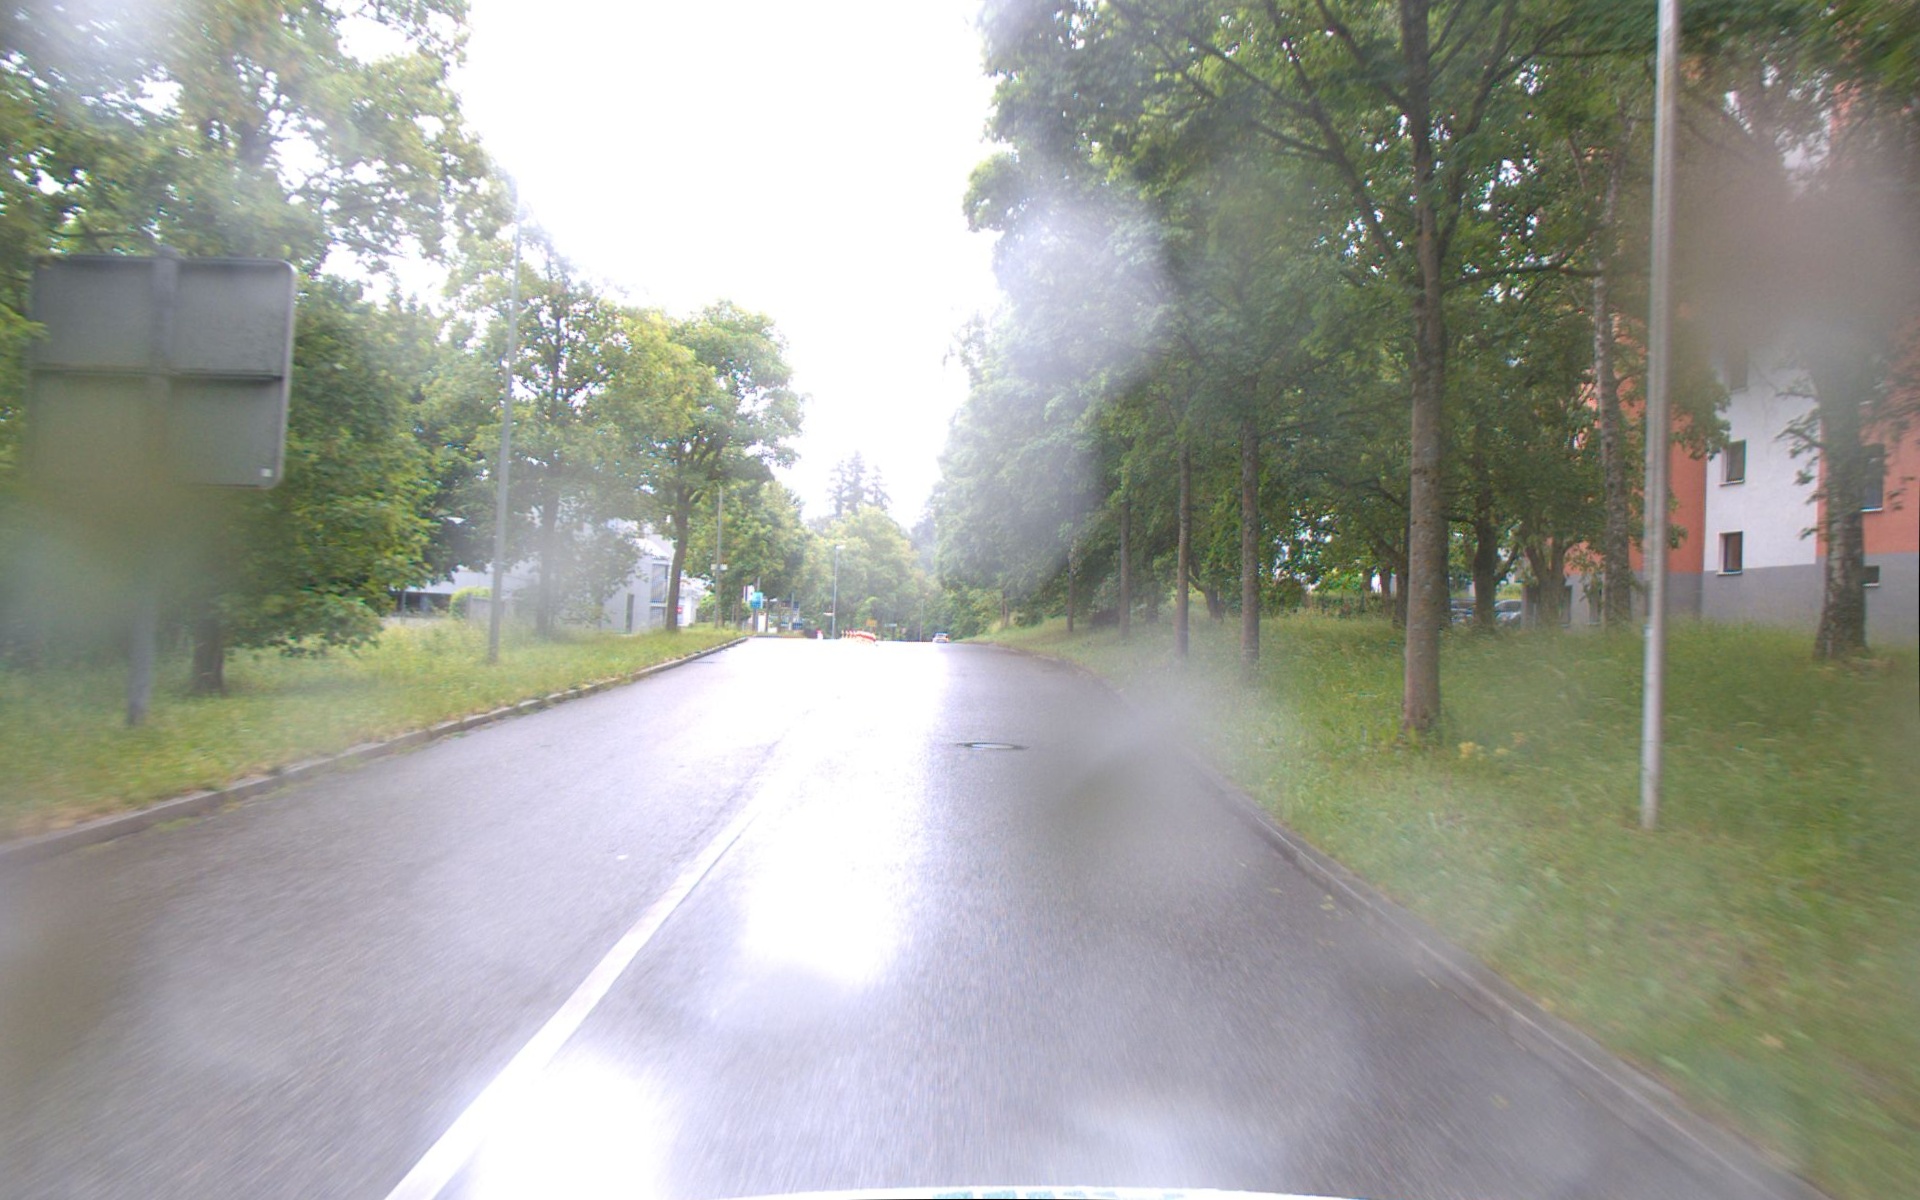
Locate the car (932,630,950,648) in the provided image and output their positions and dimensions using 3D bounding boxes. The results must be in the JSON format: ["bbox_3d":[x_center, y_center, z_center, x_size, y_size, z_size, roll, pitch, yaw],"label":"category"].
[{"bbox_3d":[-1.748,3.663,154.383,1.701,1.537,3.999,0,-3,0],"label":"car"}]
